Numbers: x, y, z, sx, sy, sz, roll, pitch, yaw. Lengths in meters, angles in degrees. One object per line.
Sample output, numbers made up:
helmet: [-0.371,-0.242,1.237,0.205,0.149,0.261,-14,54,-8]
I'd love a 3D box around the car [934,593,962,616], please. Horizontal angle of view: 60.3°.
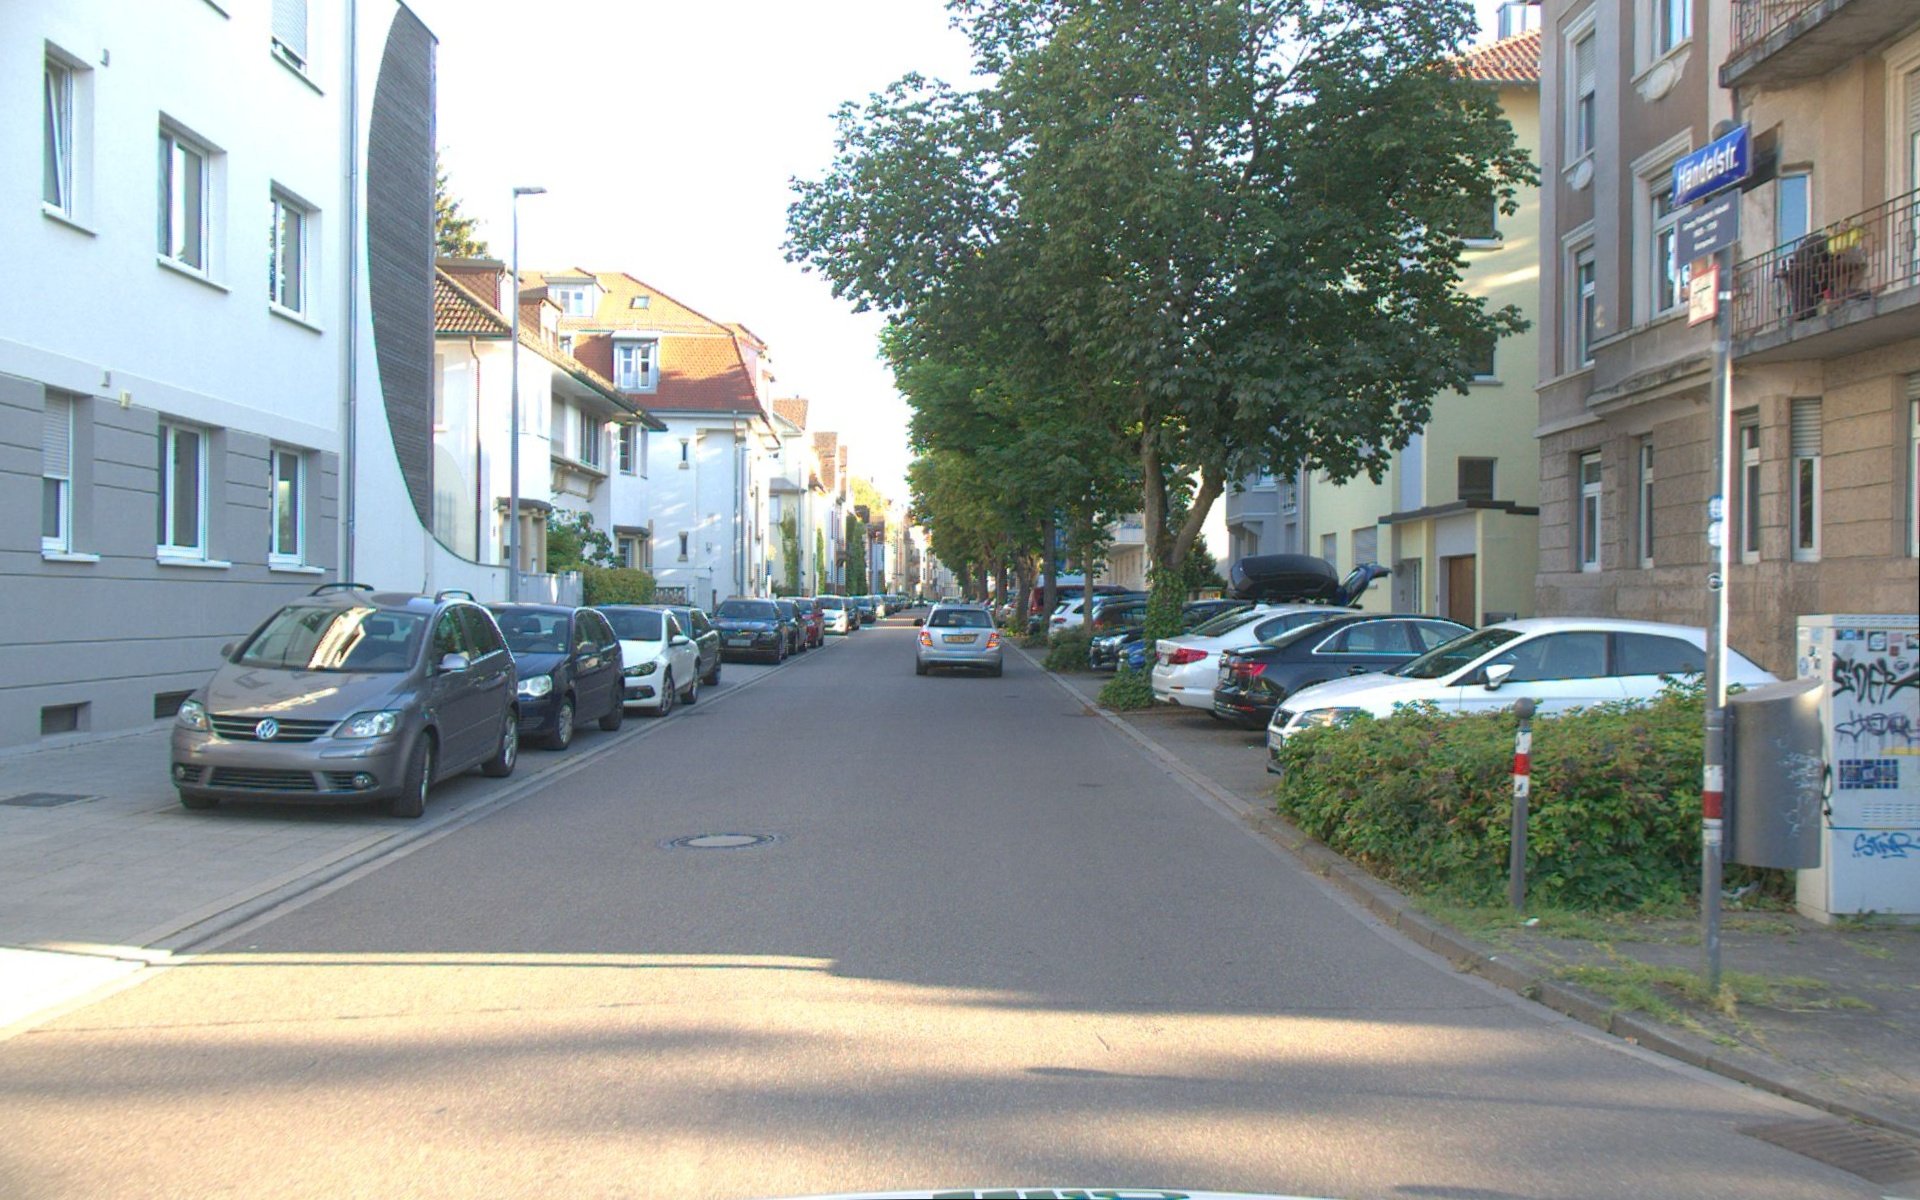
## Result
car: [-0.839,0.328,115.140,1.779,1.499,4.217,0,-1,2]

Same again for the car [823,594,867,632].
car: [-5.254,0.584,75.896,1.762,1.673,3.856,1,0,-1]

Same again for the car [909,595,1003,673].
car: [-0.020,0.693,34.364,1.779,1.499,4.217,0,-1,2]

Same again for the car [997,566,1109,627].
car: [4.665,-0.178,83.913,5.431,3.020,2.470,0,0,-3]

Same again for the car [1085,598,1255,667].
car: [4.908,0.756,39.045,3.844,1.585,1.726,0,0,1]

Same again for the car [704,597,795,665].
car: [-4.988,0.720,39.725,1.817,1.524,4.651,1,-1,-3]

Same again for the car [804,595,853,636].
car: [-5.206,0.615,65.841,1.625,1.526,3.753,1,-1,0]

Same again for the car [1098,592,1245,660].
car: [5.306,0.649,41.802,3.476,1.683,1.725,0,0,-2]

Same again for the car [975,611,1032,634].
car: [2.907,1.525,110.858,3.765,1.508,1.805,0,0,0]

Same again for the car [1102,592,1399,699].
car: [4.599,0.708,26.639,4.435,1.669,1.873,0,0,-2]

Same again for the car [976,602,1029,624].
car: [3.033,0.947,118.563,3.765,1.508,1.805,0,0,0]

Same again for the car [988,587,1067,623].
car: [3.927,0.281,97.023,4.428,2.049,2.250,0,0,-3]

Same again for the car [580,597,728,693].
car: [-5.076,0.725,27.943,1.722,1.473,4.141,1,-1,0]

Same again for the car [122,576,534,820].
car: [-4.742,0.667,13.103,1.846,1.619,4.088,1,0,-3]

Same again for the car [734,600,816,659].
car: [-5.106,0.803,46.069,1.747,1.524,4.699,1,-1,0]

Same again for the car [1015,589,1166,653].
car: [4.030,0.647,51.794,4.532,1.869,1.953,1,0,-1]

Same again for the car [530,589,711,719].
car: [-4.613,0.696,23.011,1.846,1.619,4.088,1,0,-3]

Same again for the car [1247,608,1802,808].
car: [4.533,0.837,13.708,3.966,1.532,1.861,0,0,-2]

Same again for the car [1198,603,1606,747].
car: [4.808,0.793,18.354,4.059,1.473,1.672,-1,0,-2]

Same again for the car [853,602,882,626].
car: [-6.124,0.897,110.023,1.762,1.508,3.856,1,0,-1]

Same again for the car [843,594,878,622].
car: [-5.637,0.422,93.695,1.762,1.508,3.856,1,0,-1]

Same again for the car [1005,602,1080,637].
car: [4.028,0.959,80.982,3.523,1.689,1.649,0,0,-3]

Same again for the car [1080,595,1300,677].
car: [4.530,0.704,32.977,4.106,1.585,1.873,0,0,-2]

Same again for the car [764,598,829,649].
car: [-5.053,0.726,51.433,1.625,1.514,3.753,1,-1,0]

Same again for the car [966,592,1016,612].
car: [2.370,0.167,126.992,3.765,1.508,1.805,0,0,0]

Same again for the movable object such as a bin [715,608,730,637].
movable object such as a bin: [-9.371,0.896,65.305,0.517,1.127,0.589,1,-2,-1]

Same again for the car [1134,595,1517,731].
car: [4.584,0.750,21.103,4.391,1.552,1.951,-1,1,-7]

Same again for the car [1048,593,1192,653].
car: [4.258,0.608,44.392,3.655,1.585,1.725,0,0,-2]

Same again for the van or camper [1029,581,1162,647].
van or camper: [4.410,0.444,54.309,4.223,2.049,2.001,1,0,2]

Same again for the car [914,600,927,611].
car: [-5.579,0.730,231.288,1.762,1.411,3.605,1,0,-1]

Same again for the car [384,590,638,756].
car: [-4.802,0.728,18.277,1.846,1.619,4.088,1,0,-3]

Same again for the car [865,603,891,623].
car: [-6.126,0.938,123.936,1.762,1.411,3.605,1,0,-1]
